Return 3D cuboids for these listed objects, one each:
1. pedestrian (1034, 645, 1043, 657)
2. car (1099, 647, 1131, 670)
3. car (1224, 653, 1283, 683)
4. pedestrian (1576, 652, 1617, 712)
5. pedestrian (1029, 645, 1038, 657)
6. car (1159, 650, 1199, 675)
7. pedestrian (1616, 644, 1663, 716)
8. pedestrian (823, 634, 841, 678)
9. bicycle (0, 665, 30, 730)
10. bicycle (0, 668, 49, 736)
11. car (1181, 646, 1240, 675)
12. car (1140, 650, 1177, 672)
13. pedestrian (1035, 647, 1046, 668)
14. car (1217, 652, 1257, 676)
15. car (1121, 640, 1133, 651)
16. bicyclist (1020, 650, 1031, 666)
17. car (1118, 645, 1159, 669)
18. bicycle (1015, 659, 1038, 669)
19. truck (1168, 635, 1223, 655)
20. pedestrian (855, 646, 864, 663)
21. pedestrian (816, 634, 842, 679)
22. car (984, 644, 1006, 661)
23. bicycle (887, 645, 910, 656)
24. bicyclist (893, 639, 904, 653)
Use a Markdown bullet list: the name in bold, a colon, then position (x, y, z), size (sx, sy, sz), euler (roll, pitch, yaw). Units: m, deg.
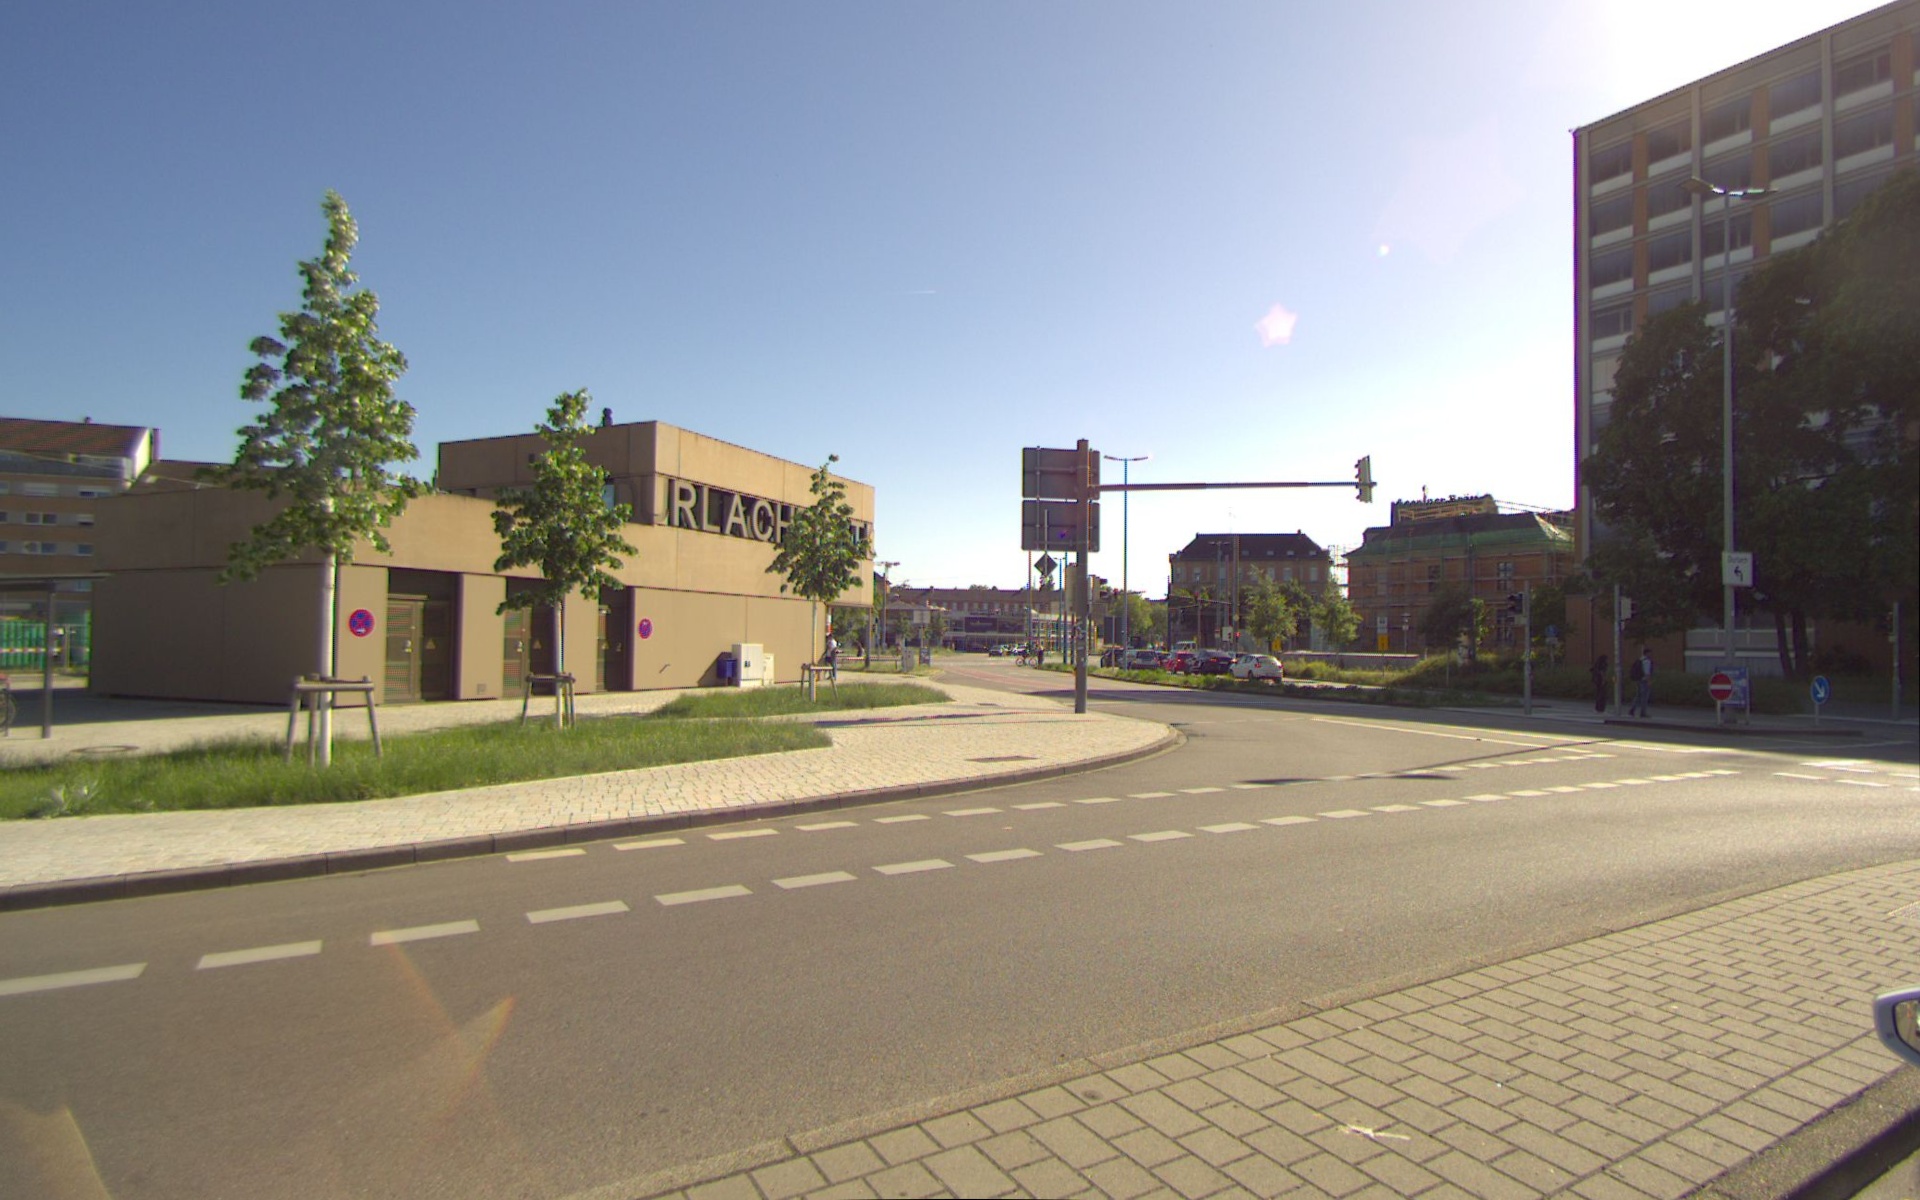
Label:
- **pedestrian**: position (9.967, 6.483, 127.121), size (0.856, 1.427, 0.688), euler (2, 0, -32)
- **car**: position (11.104, 4.188, 72.198), size (1.696, 1.461, 3.912), euler (3, -3, 1)
- **car**: position (15.471, 3.580, 53.132), size (1.665, 1.454, 3.733), euler (1, -3, -8)
- **pedestrian**: position (17.866, 2.288, 28.189), size (0.669, 1.633, 0.719), euler (1, -2, -6)
- **pedestrian**: position (9.265, 6.442, 126.670), size (0.856, 1.427, 0.688), euler (2, 0, -32)
- **car**: position (14.437, 4.087, 66.311), size (1.645, 1.461, 3.721), euler (3, -3, -2)
- **pedestrian**: position (18.050, 2.115, 26.676), size (1.086, 1.856, 0.748), euler (4, -3, -39)
- **pedestrian**: position (-5.190, 2.286, 40.749), size (0.631, 1.745, 0.749), euler (1, -4, -3)
- **bicycle**: position (-15.970, 1.550, 15.855), size (0.557, 1.051, 1.788), euler (-1, -3, 22)
- **bicycle**: position (-15.175, 1.565, 15.336), size (0.557, 1.051, 1.788), euler (-1, -3, 22)
- **car**: position (14.931, 3.569, 60.114), size (1.953, 1.645, 4.374), euler (1, -3, -7)
- **car**: position (14.342, 4.387, 72.758), size (1.697, 1.461, 3.798), euler (3, -3, -2)
- **pedestrian**: position (6.312, 4.531, 79.033), size (0.566, 1.632, 0.564), euler (2, 0, -31)
- **car**: position (19.970, 4.622, 72.611), size (1.846, 1.638, 3.626), euler (2, -3, 0)
- **car**: position (27.439, 7.451, 164.952), size (1.750, 1.565, 3.642), euler (2, 0, 12)
- **bicyclist**: position (5.254, 4.650, 80.445), size (0.682, 1.243, 0.641), euler (2, 0, -17)
- **car**: position (11.587, 3.689, 65.394), size (1.697, 1.461, 3.797), euler (2, -3, -4)
- **bicycle**: position (5.347, 5.126, 80.480), size (1.710, 0.754, 0.641), euler (2, 0, -17)
- **truck**: position (28.796, 5.490, 122.667), size (6.799, 2.343, 2.205), euler (3, -3, -29)
- **pedestrian**: position (-8.338, 4.522, 83.181), size (0.586, 1.427, 0.566), euler (2, 0, -22)
- **pedestrian**: position (-5.152, 2.233, 39.584), size (0.778, 1.745, 0.594), euler (-2, -5, 37)
- **car**: position (4.693, 7.034, 133.988), size (1.960, 2.040, 4.002), euler (2, 0, 16)
- **bicycle**: position (-7.433, 6.092, 121.283), size (2.615, 1.204, 0.943), euler (2, 0, -21)
- **bicyclist**: position (-7.387, 5.545, 121.301), size (1.050, 1.605, 0.943), euler (2, 0, -20)
